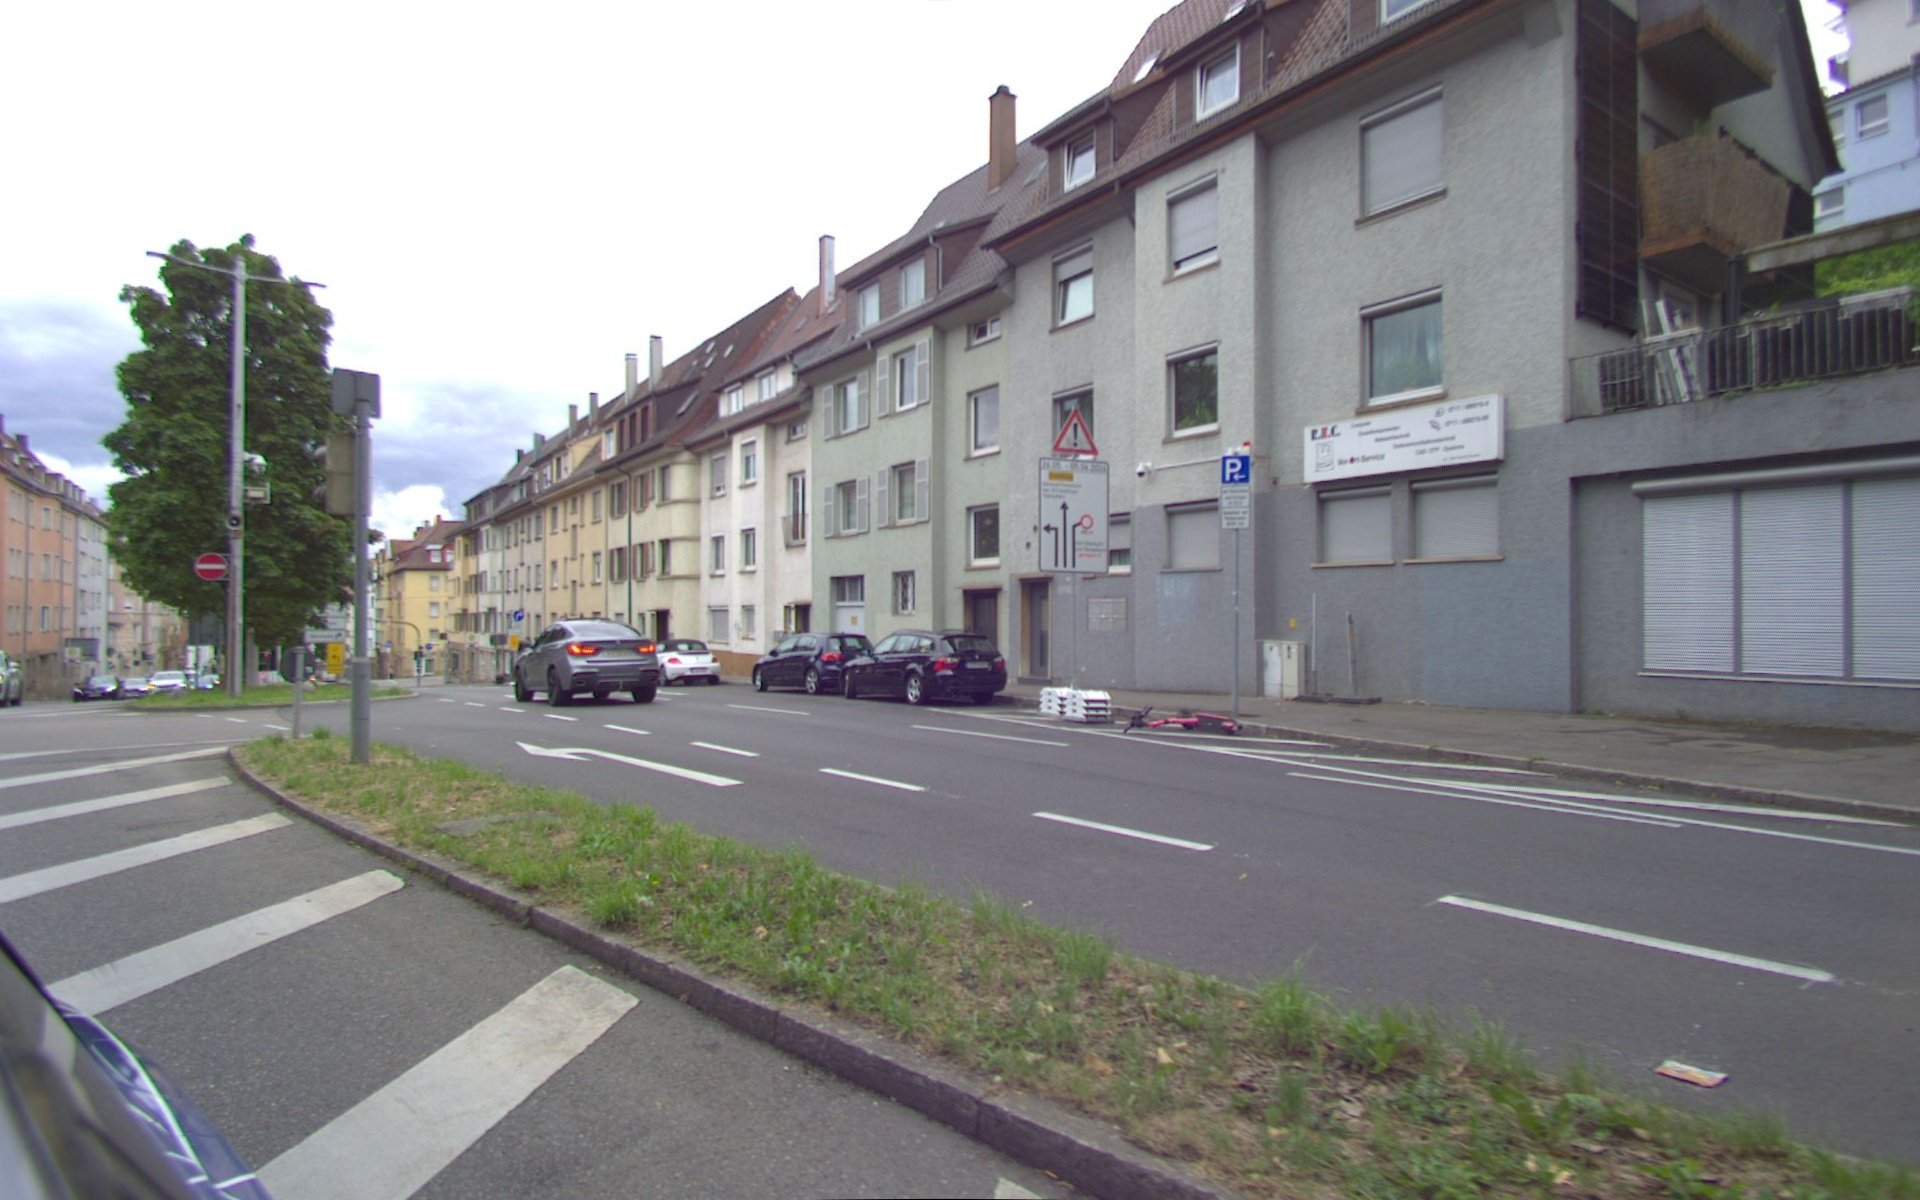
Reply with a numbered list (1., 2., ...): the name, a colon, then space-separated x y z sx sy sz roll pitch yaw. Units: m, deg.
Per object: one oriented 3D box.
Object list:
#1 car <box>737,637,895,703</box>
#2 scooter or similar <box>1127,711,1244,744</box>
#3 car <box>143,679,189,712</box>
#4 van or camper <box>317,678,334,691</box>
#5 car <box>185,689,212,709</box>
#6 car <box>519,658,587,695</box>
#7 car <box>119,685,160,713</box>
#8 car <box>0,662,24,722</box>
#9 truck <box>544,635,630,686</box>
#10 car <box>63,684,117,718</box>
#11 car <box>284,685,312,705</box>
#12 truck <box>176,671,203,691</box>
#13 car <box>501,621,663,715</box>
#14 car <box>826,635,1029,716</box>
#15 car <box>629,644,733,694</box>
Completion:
1. car: -3.590 1.676 24.638 1.968 1.434 4.220 1 -4 -38
2. scooter or similar: 2.936 1.645 13.169 1.098 0.290 1.112 -2 -3 40
3. car: -42.562 5.084 54.310 1.756 1.605 3.541 3 -5 -36
4. van or camper: -90.981 12.093 145.004 1.882 1.775 4.666 0 -4 -34
5. car: -65.988 8.583 87.732 1.756 1.605 3.541 3 -5 -36
6. car: -18.576 3.481 46.085 1.967 1.564 4.168 1 -4 -35
7. car: -51.951 6.255 64.126 1.756 1.605 3.541 3 -5 -36
8. car: -27.185 2.605 27.664 1.752 1.620 4.173 -3 -3 -35
9. truck: -15.293 2.509 41.263 1.967 1.935 5.359 1 -4 -35
10. car: -44.551 5.129 51.869 1.756 1.605 3.541 3 -5 -36
11. car: -52.617 7.514 80.435 1.722 1.478 4.596 1 -5 -35
12. truck: -113.786 11.977 149.542 2.511 2.930 7.797 1 -5 -33
13. car: -7.941 1.327 20.966 1.845 1.711 4.947 1 -2 -36
14. car: -0.798 1.491 20.437 1.967 1.411 4.529 1 -4 -34
15. car: -9.036 2.226 32.532 1.967 1.486 4.168 1 -4 -34
